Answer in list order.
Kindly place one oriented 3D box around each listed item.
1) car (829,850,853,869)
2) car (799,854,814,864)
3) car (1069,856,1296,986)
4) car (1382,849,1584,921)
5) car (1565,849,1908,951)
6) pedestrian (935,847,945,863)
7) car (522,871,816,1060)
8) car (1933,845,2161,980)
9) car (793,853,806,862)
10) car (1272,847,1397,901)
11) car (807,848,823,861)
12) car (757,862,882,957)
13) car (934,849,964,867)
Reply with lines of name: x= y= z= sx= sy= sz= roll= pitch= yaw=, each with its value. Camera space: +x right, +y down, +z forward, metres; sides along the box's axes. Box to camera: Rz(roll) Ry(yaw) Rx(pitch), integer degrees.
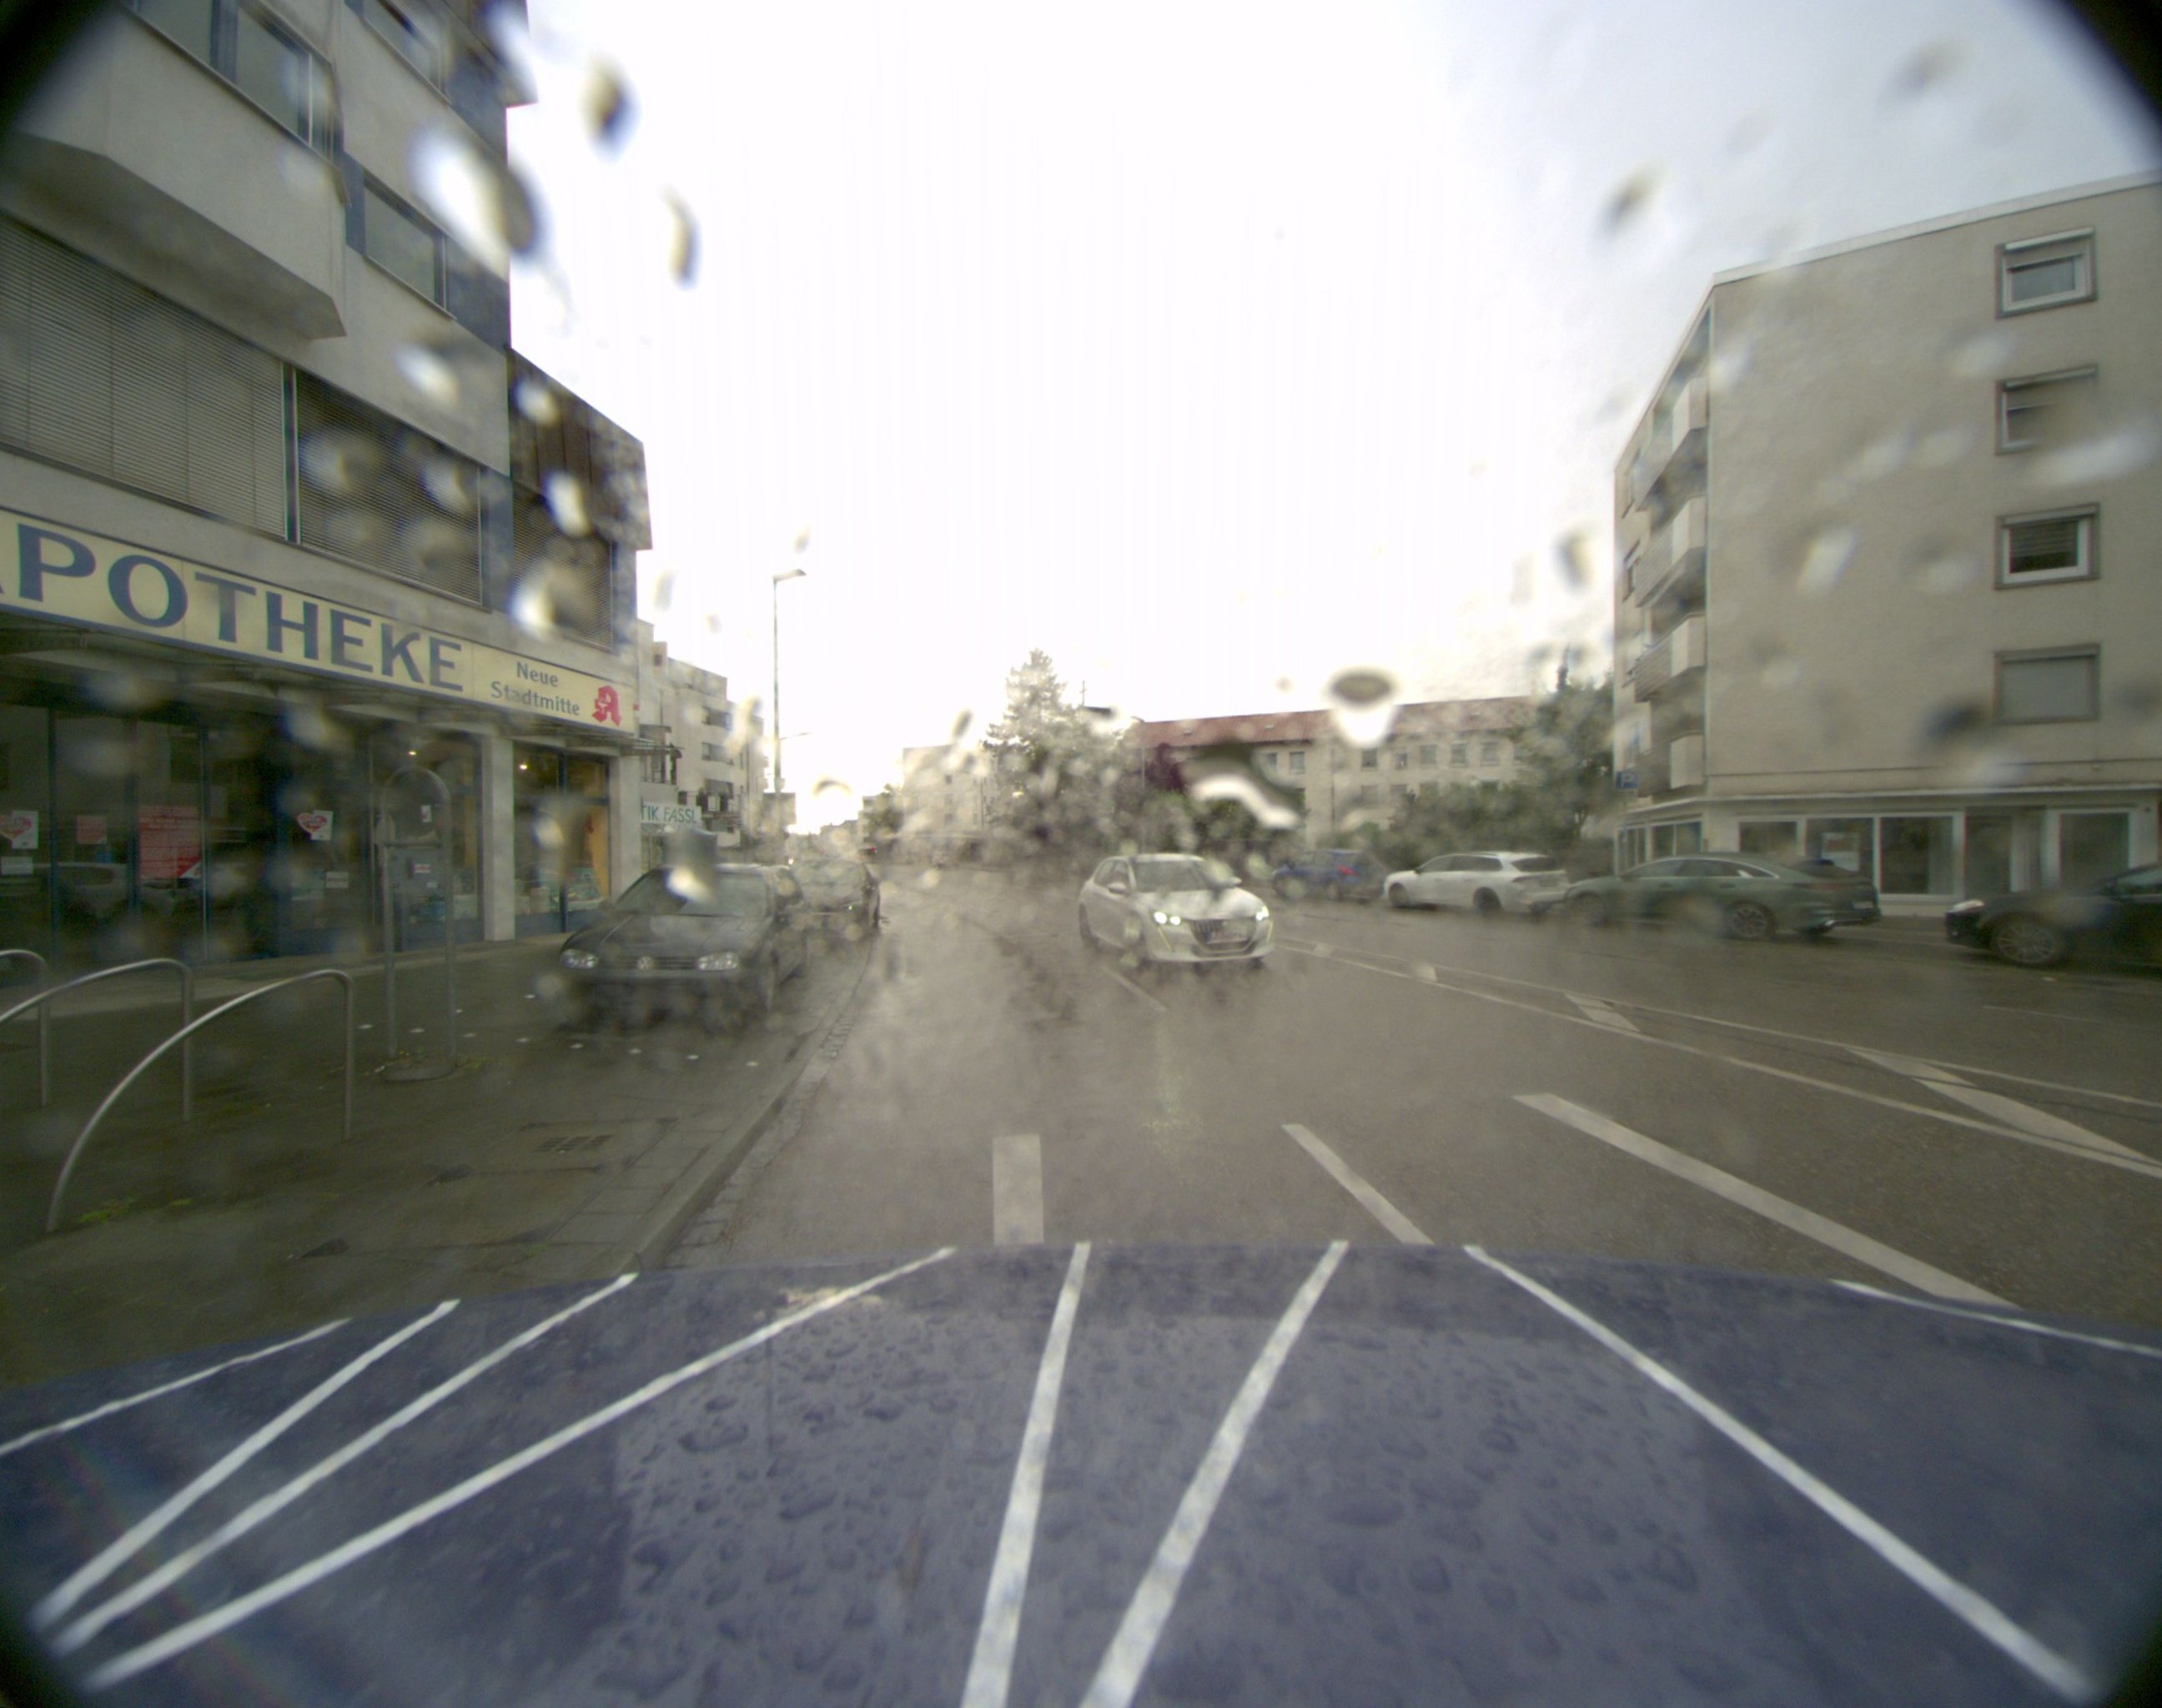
car: x=-20.031 y=0.445 z=63.320 sx=1.737 sy=1.436 sz=4.039 roll=-2 pitch=2 yaw=-20
car: x=-40.392 y=0.777 z=111.891 sx=1.804 sy=1.361 sz=3.965 roll=-1 pitch=2 yaw=-23
car: x=1.188 y=0.770 z=10.705 sx=1.745 sy=1.401 sz=3.891 roll=-3 pitch=0 yaw=-15
car: x=9.510 y=0.635 z=18.401 sx=1.639 sy=1.491 sz=4.338 roll=-1 pitch=1 yaw=-20
car: x=11.297 y=0.668 z=13.532 sx=1.839 sy=1.426 sz=4.266 roll=-2 pitch=1 yaw=-21
pedestrian: x=-15.802 y=0.113 z=85.049 sx=0.857 sy=1.726 sz=0.834 roll=-1 pitch=2 yaw=-28
car: x=-3.896 y=0.931 z=7.891 sx=1.656 sy=1.364 sz=3.727 roll=2 pitch=0 yaw=-12
car: x=13.017 y=0.655 z=8.545 sx=1.839 sy=1.451 sz=4.180 roll=-2 pitch=1 yaw=-20
car: x=-49.950 y=0.632 z=134.993 sx=2.001 sy=1.606 sz=3.993 roll=-3 pitch=1 yaw=-18
car: x=7.776 y=0.559 z=23.667 sx=1.636 sy=1.497 sz=3.874 roll=-1 pitch=1 yaw=-20
car: x=-31.859 y=0.107 z=91.025 sx=1.736 sy=1.519 sz=4.056 roll=-1 pitch=0 yaw=-20
car: x=-4.644 y=0.889 z=13.996 sx=1.660 sy=1.416 sz=3.995 roll=-1 pitch=1 yaw=-12
car: x=-11.084 y=0.326 z=63.745 sx=1.874 sy=1.428 sz=3.734 roll=-1 pitch=1 yaw=-20
